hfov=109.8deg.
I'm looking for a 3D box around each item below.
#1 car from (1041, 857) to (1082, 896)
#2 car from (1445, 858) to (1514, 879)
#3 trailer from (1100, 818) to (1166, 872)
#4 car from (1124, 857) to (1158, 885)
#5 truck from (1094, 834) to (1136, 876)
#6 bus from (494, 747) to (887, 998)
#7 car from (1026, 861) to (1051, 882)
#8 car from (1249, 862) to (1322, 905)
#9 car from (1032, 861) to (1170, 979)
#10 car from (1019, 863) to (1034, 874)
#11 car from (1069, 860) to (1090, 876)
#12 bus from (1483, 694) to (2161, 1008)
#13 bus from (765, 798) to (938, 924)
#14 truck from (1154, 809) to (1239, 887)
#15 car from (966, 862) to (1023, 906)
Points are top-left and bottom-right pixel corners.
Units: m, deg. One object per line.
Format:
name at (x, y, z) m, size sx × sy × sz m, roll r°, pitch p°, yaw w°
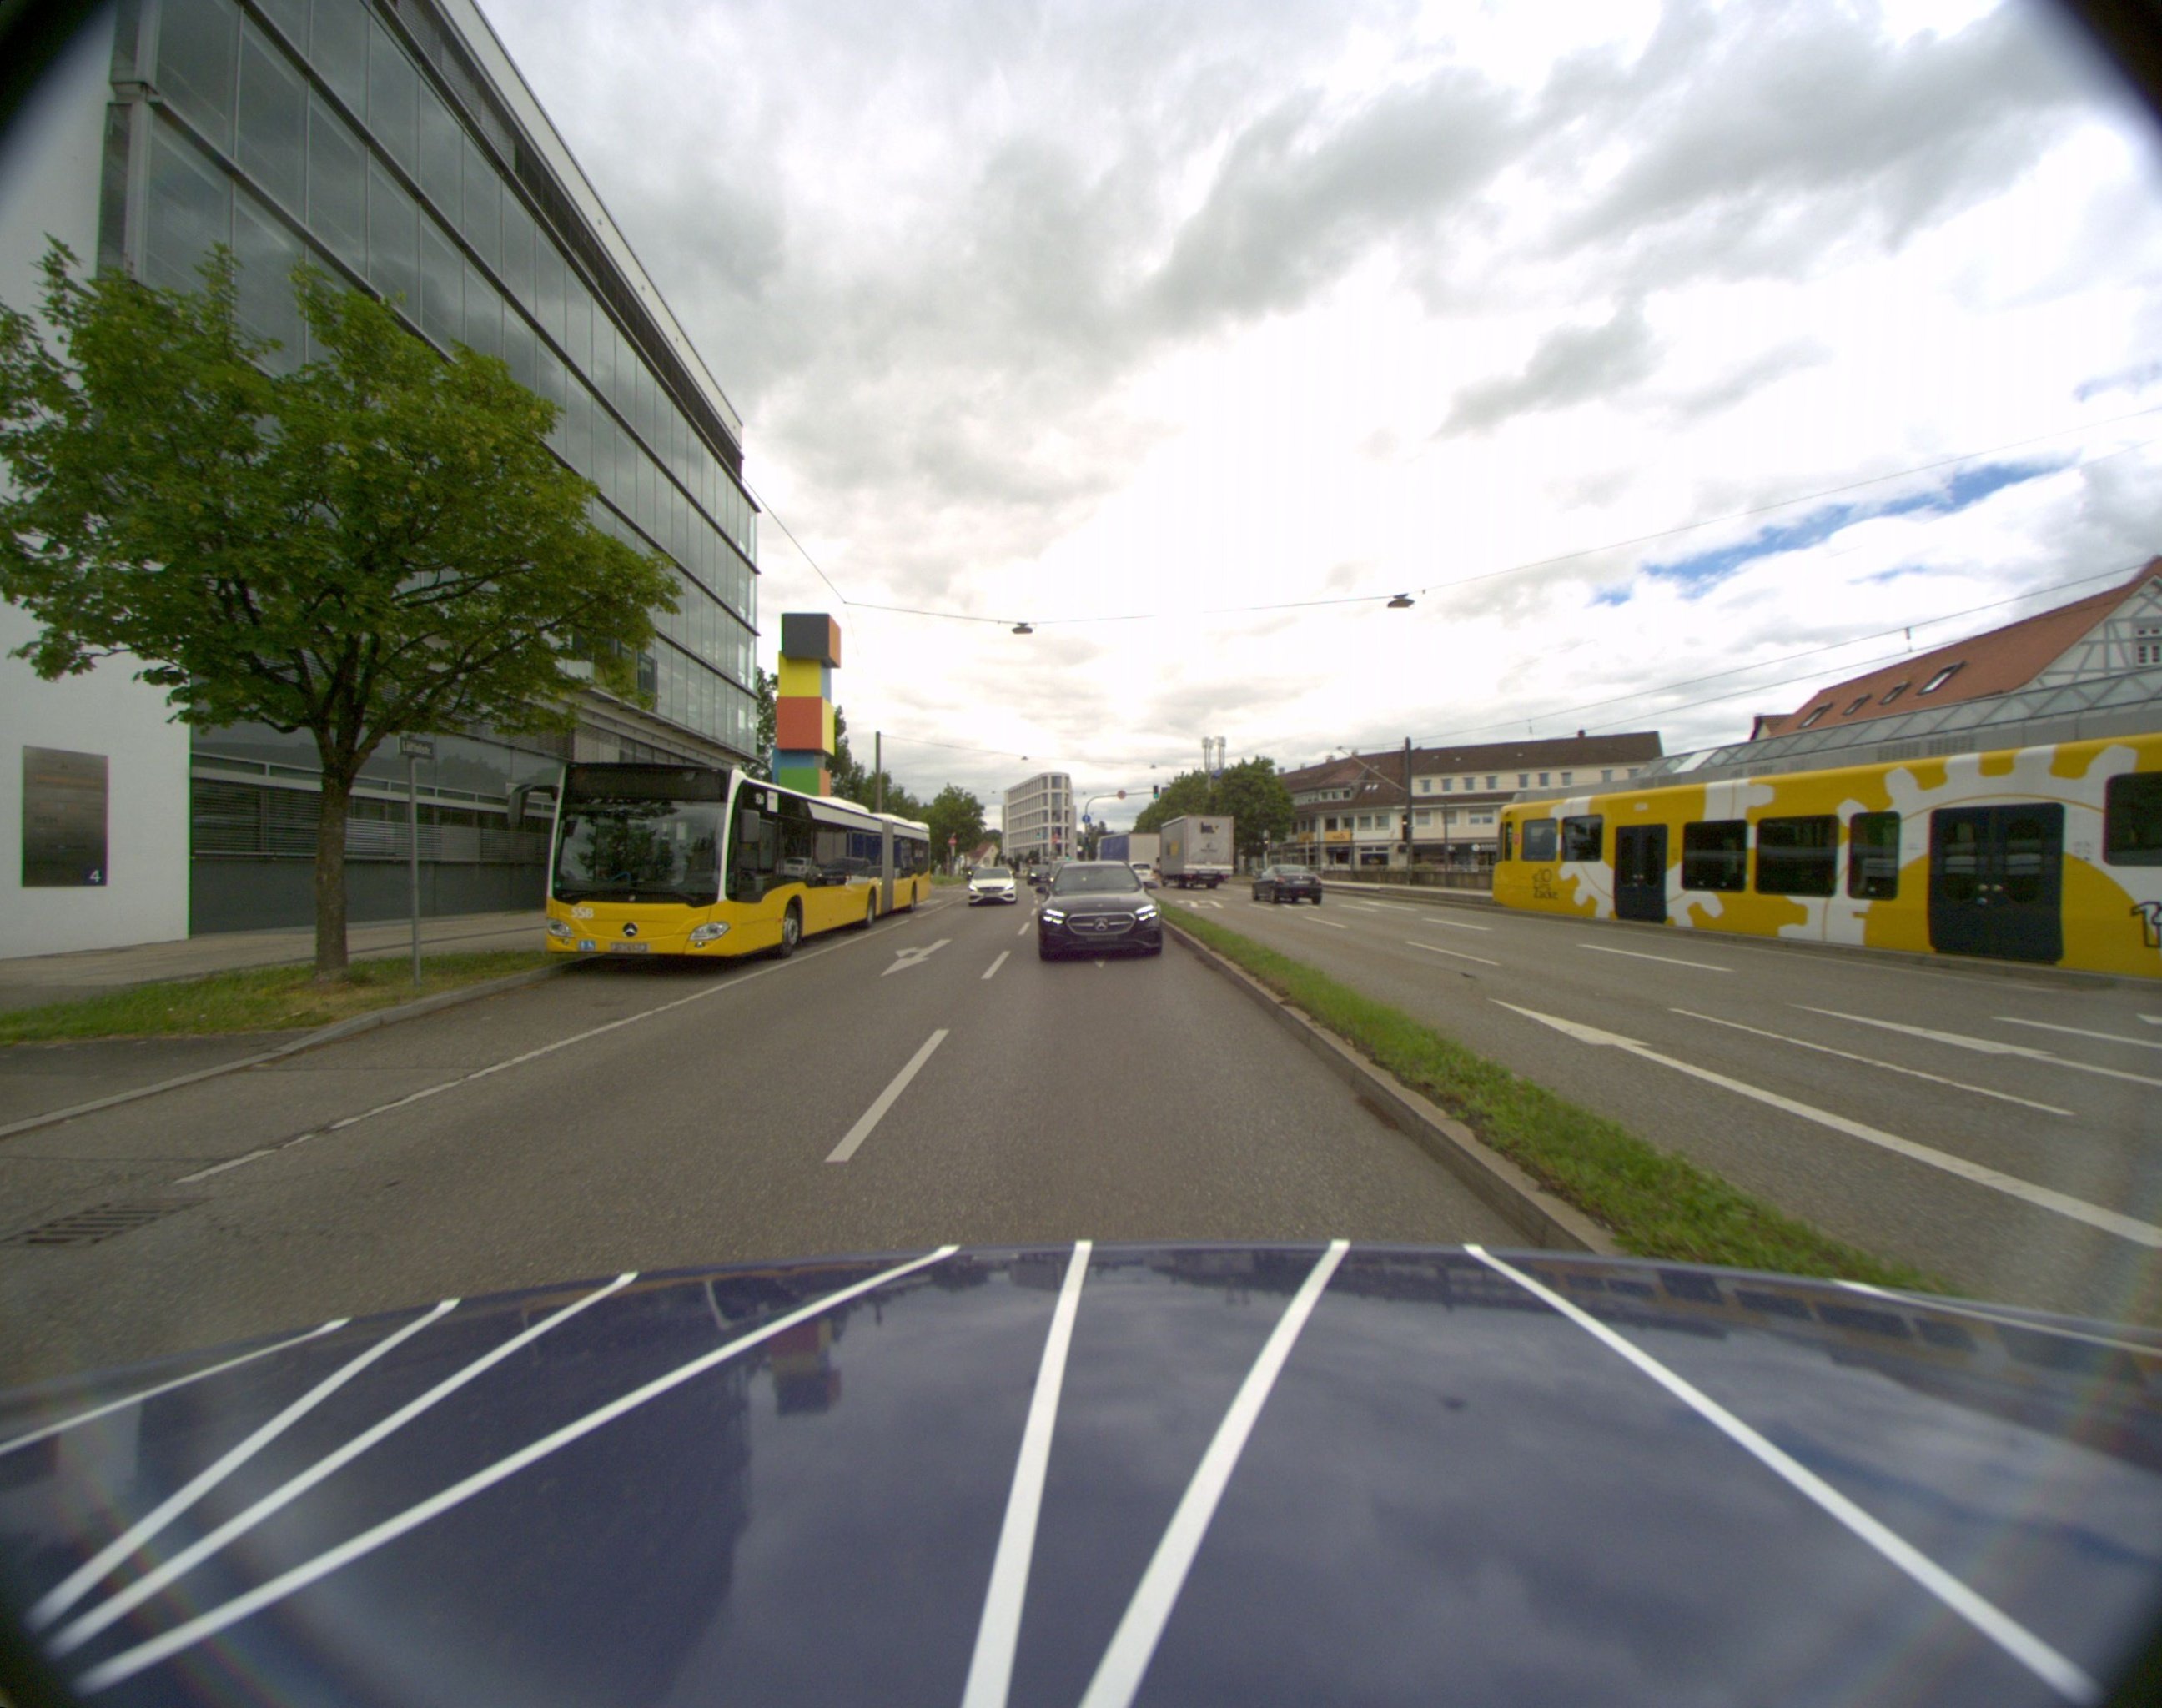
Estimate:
car at (-0.897, 1.024, 36.696) m, size 1.735 × 1.680 × 4.369 m, roll -1°, pitch 1°, yaw 1°
car at (30.475, 1.109, 58.236) m, size 4.355 × 1.507 × 1.794 m, roll -1°, pitch -1°, yaw 16°
trailer at (4.269, -0.624, 66.849) m, size 3.112 × 4.244 × 14.839 m, roll 0°, pitch -1°, yaw -6°
car at (3.445, 0.956, 44.084) m, size 1.592 × 1.493 × 3.717 m, roll -1°, pitch 0°, yaw -1°
truck at (3.303, 0.128, 75.015) m, size 3.101 × 3.998 × 6.152 m, roll 0°, pitch -1°, yaw -8°
bus at (-6.296, 0.206, 14.788) m, size 2.990 × 3.222 × 9.862 m, roll -1°, pitch 0°, yaw -3°
car at (-3.276, 1.327, 57.983) m, size 1.736 × 1.474 × 4.367 m, roll -1°, pitch 0°, yaw -5°
car at (7.202, 1.000, 27.117) m, size 1.509 × 1.337 × 3.948 m, roll 1°, pitch 0°, yaw 0°
car at (0.251, 0.954, 13.158) m, size 1.872 × 1.542 × 4.773 m, roll -3°, pitch 0°, yaw -1°
car at (-8.398, 2.213, 116.666) m, size 1.918 × 1.585 × 4.812 m, roll -1°, pitch 0°, yaw -9°
car at (-0.172, 1.381, 75.848) m, size 1.791 × 1.507 × 4.362 m, roll 0°, pitch -1°, yaw -5°
bus at (14.899, -0.052, 13.965) m, size 3.888 × 3.837 × 19.334 m, roll 0°, pitch 0°, yaw -3°
bus at (-6.779, 0.173, 24.219) m, size 3.044 × 3.217 × 9.335 m, roll 0°, pitch 0°, yaw -3°
truck at (6.285, -0.275, 42.978) m, size 2.946 × 3.934 × 9.162 m, roll -1°, pitch 0°, yaw -3°
car at (-3.316, 1.114, 30.027) m, size 1.873 × 1.496 × 4.771 m, roll -3°, pitch 0°, yaw -3°
